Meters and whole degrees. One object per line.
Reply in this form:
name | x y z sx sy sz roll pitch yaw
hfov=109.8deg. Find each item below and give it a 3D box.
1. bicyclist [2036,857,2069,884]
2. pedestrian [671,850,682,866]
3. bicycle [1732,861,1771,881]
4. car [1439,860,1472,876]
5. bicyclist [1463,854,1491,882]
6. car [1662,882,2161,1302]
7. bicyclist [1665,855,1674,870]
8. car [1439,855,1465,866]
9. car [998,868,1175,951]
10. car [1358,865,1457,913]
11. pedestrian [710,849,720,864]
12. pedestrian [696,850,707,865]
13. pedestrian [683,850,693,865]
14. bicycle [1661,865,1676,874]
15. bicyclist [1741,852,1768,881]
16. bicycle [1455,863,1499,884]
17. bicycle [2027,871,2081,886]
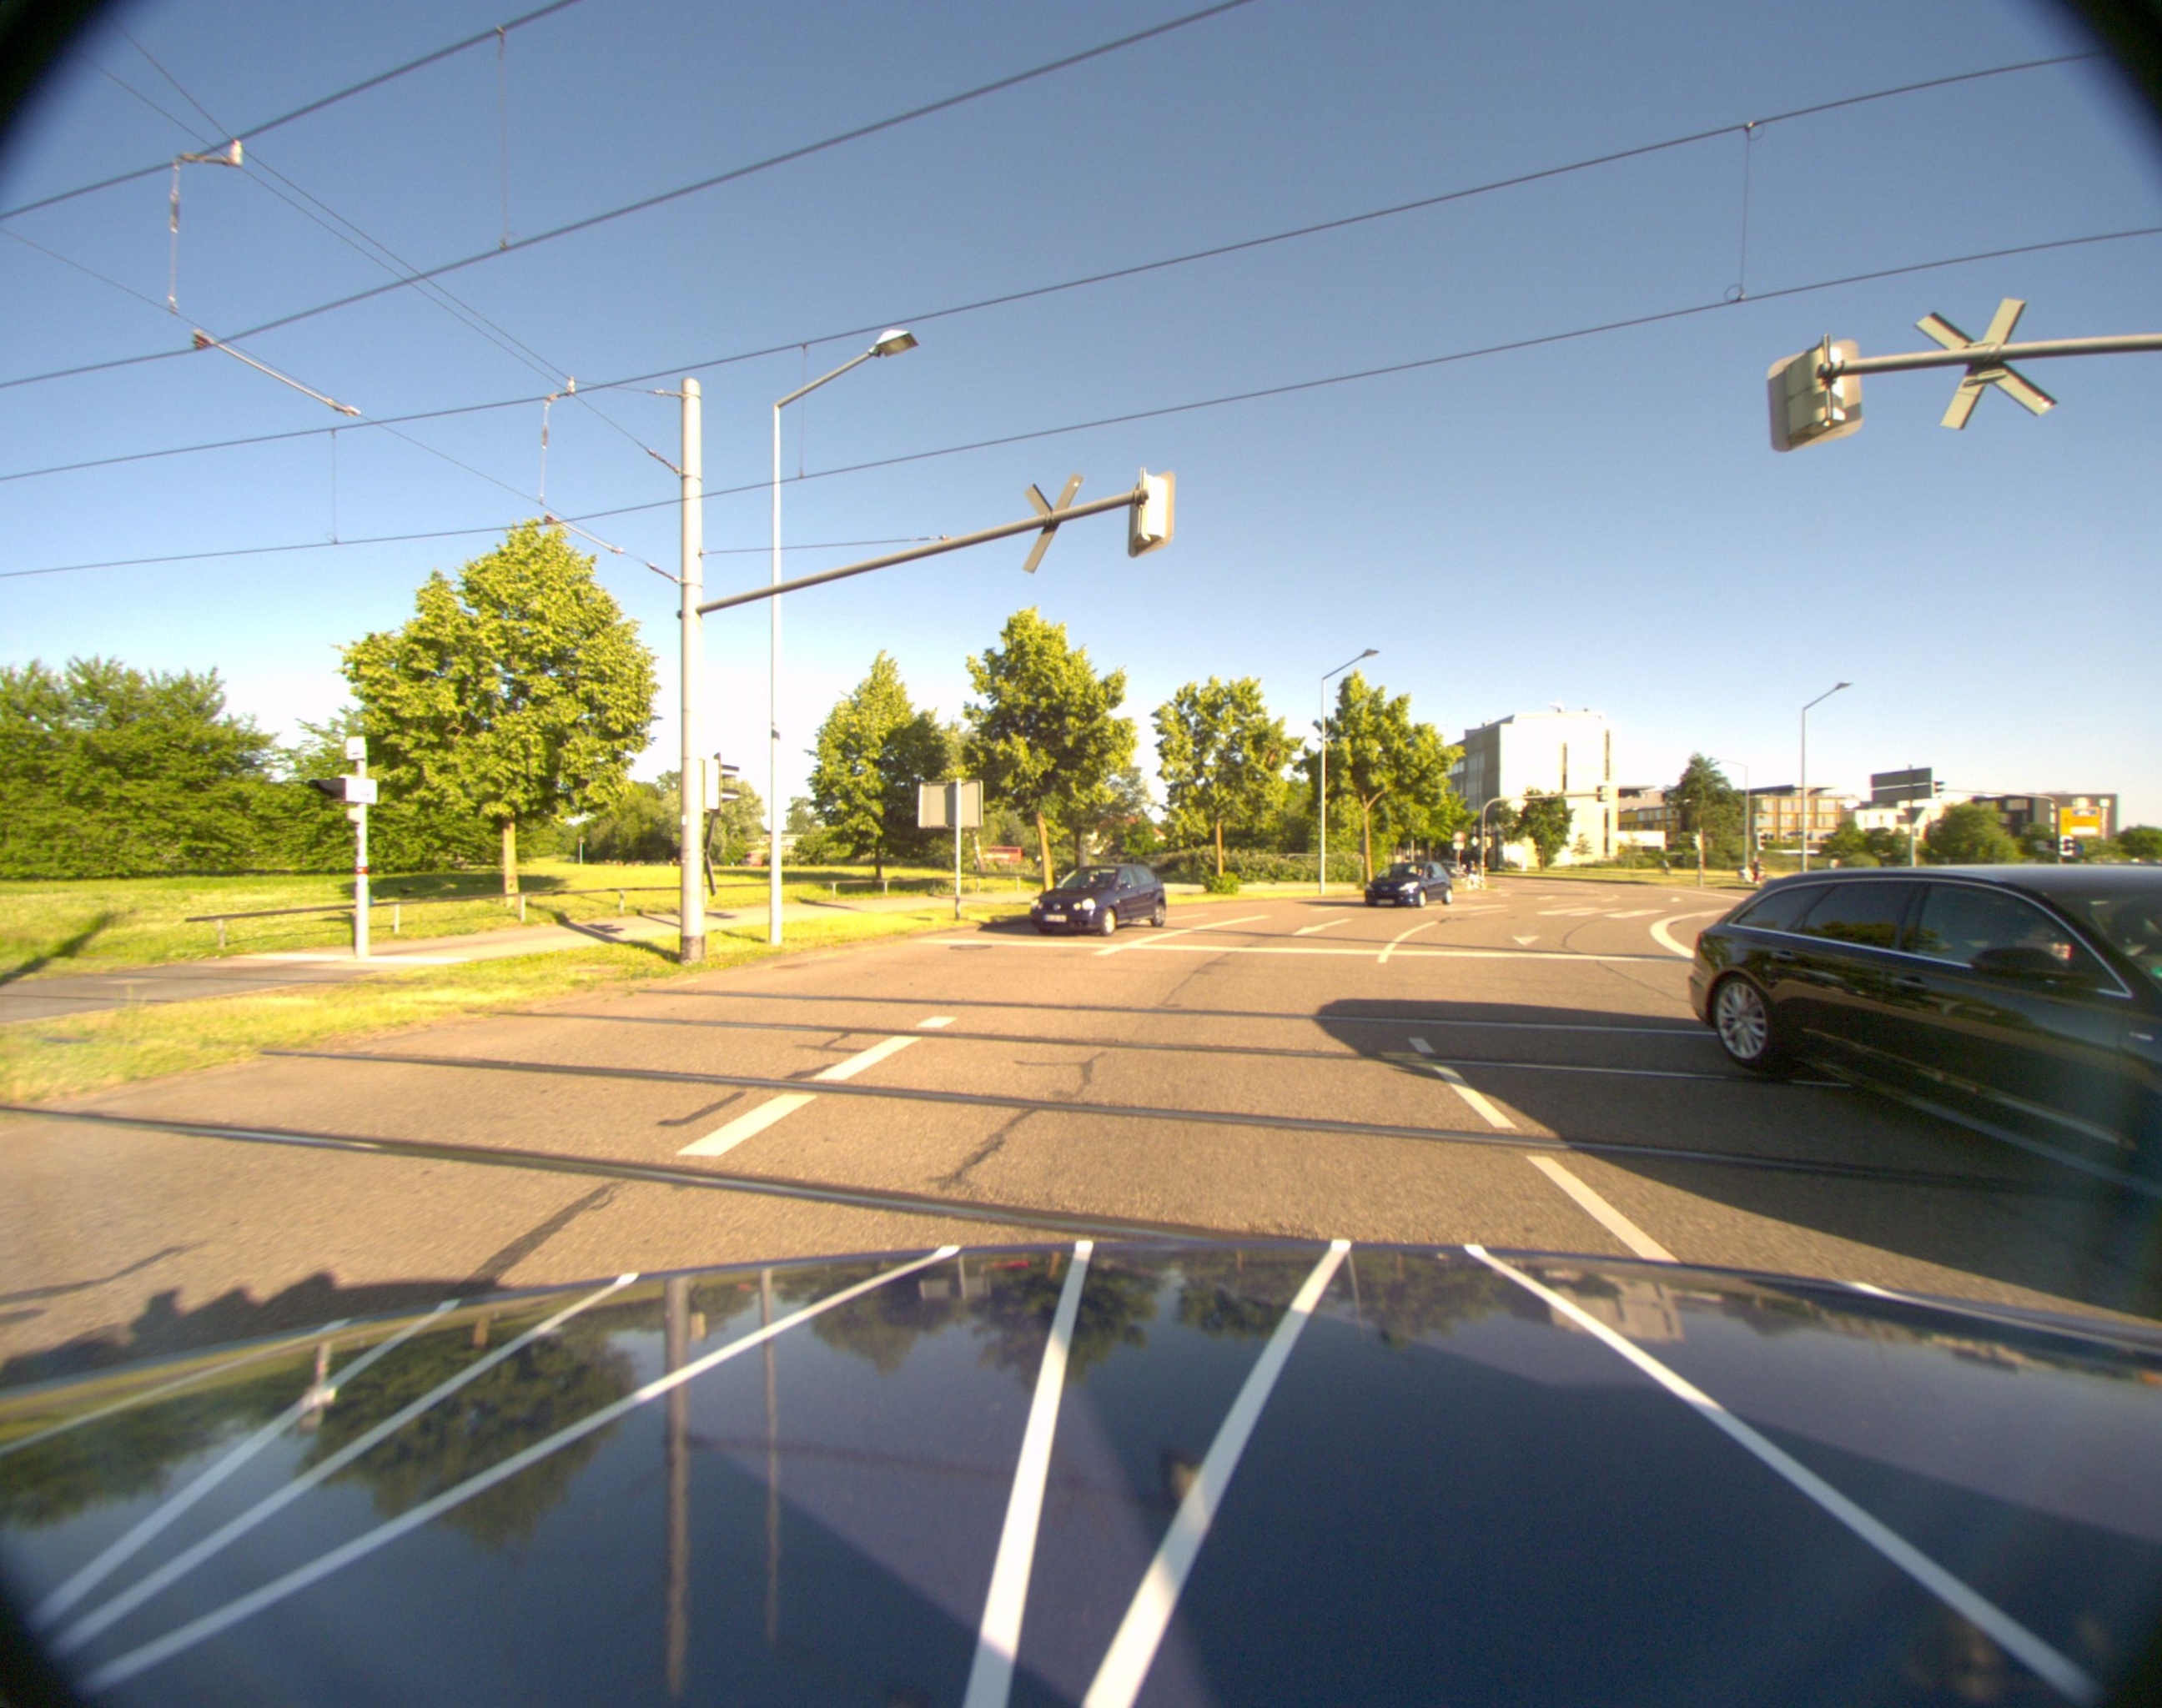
bicyclist | 54.741 0.914 42.814 0.923 1.508 0.618 0 1 14
pedestrian | -37.985 0.368 71.393 0.687 1.432 0.794 0 0 -9
bicycle | 39.467 0.986 44.734 1.654 1.122 0.704 -1 2 -2
car | 35.629 1.310 72.429 1.934 1.371 4.542 0 0 14
bicyclist | 23.086 0.800 44.285 1.088 1.553 0.875 1 2 -16
car | 5.103 0.935 3.634 1.795 1.435 5.022 0 0 13
bicyclist | 61.758 0.913 79.726 0.432 1.555 0.852 0 0 12
car | 53.944 0.887 110.542 2.007 1.532 4.327 0 0 6
car | 0.295 1.059 16.282 1.633 1.459 4.555 0 0 32
car | 10.848 1.107 25.113 1.753 1.445 4.009 -1 -1 43
pedestrian | -34.598 0.257 71.809 0.662 1.432 0.794 0 0 -9
pedestrian | -35.928 0.295 71.912 0.774 1.432 0.794 0 0 -9
pedestrian | -36.878 0.336 71.306 0.687 1.432 0.794 0 0 -9
bicycle | 61.788 1.646 79.893 0.490 0.847 1.891 0 0 12
bicyclist | 39.665 0.716 44.743 0.942 1.654 0.704 -1 2 -2
bicycle | 23.060 1.128 44.283 2.218 1.148 0.875 1 2 -16
bicycle | 54.792 1.376 42.811 1.885 0.847 0.618 0 0 14
